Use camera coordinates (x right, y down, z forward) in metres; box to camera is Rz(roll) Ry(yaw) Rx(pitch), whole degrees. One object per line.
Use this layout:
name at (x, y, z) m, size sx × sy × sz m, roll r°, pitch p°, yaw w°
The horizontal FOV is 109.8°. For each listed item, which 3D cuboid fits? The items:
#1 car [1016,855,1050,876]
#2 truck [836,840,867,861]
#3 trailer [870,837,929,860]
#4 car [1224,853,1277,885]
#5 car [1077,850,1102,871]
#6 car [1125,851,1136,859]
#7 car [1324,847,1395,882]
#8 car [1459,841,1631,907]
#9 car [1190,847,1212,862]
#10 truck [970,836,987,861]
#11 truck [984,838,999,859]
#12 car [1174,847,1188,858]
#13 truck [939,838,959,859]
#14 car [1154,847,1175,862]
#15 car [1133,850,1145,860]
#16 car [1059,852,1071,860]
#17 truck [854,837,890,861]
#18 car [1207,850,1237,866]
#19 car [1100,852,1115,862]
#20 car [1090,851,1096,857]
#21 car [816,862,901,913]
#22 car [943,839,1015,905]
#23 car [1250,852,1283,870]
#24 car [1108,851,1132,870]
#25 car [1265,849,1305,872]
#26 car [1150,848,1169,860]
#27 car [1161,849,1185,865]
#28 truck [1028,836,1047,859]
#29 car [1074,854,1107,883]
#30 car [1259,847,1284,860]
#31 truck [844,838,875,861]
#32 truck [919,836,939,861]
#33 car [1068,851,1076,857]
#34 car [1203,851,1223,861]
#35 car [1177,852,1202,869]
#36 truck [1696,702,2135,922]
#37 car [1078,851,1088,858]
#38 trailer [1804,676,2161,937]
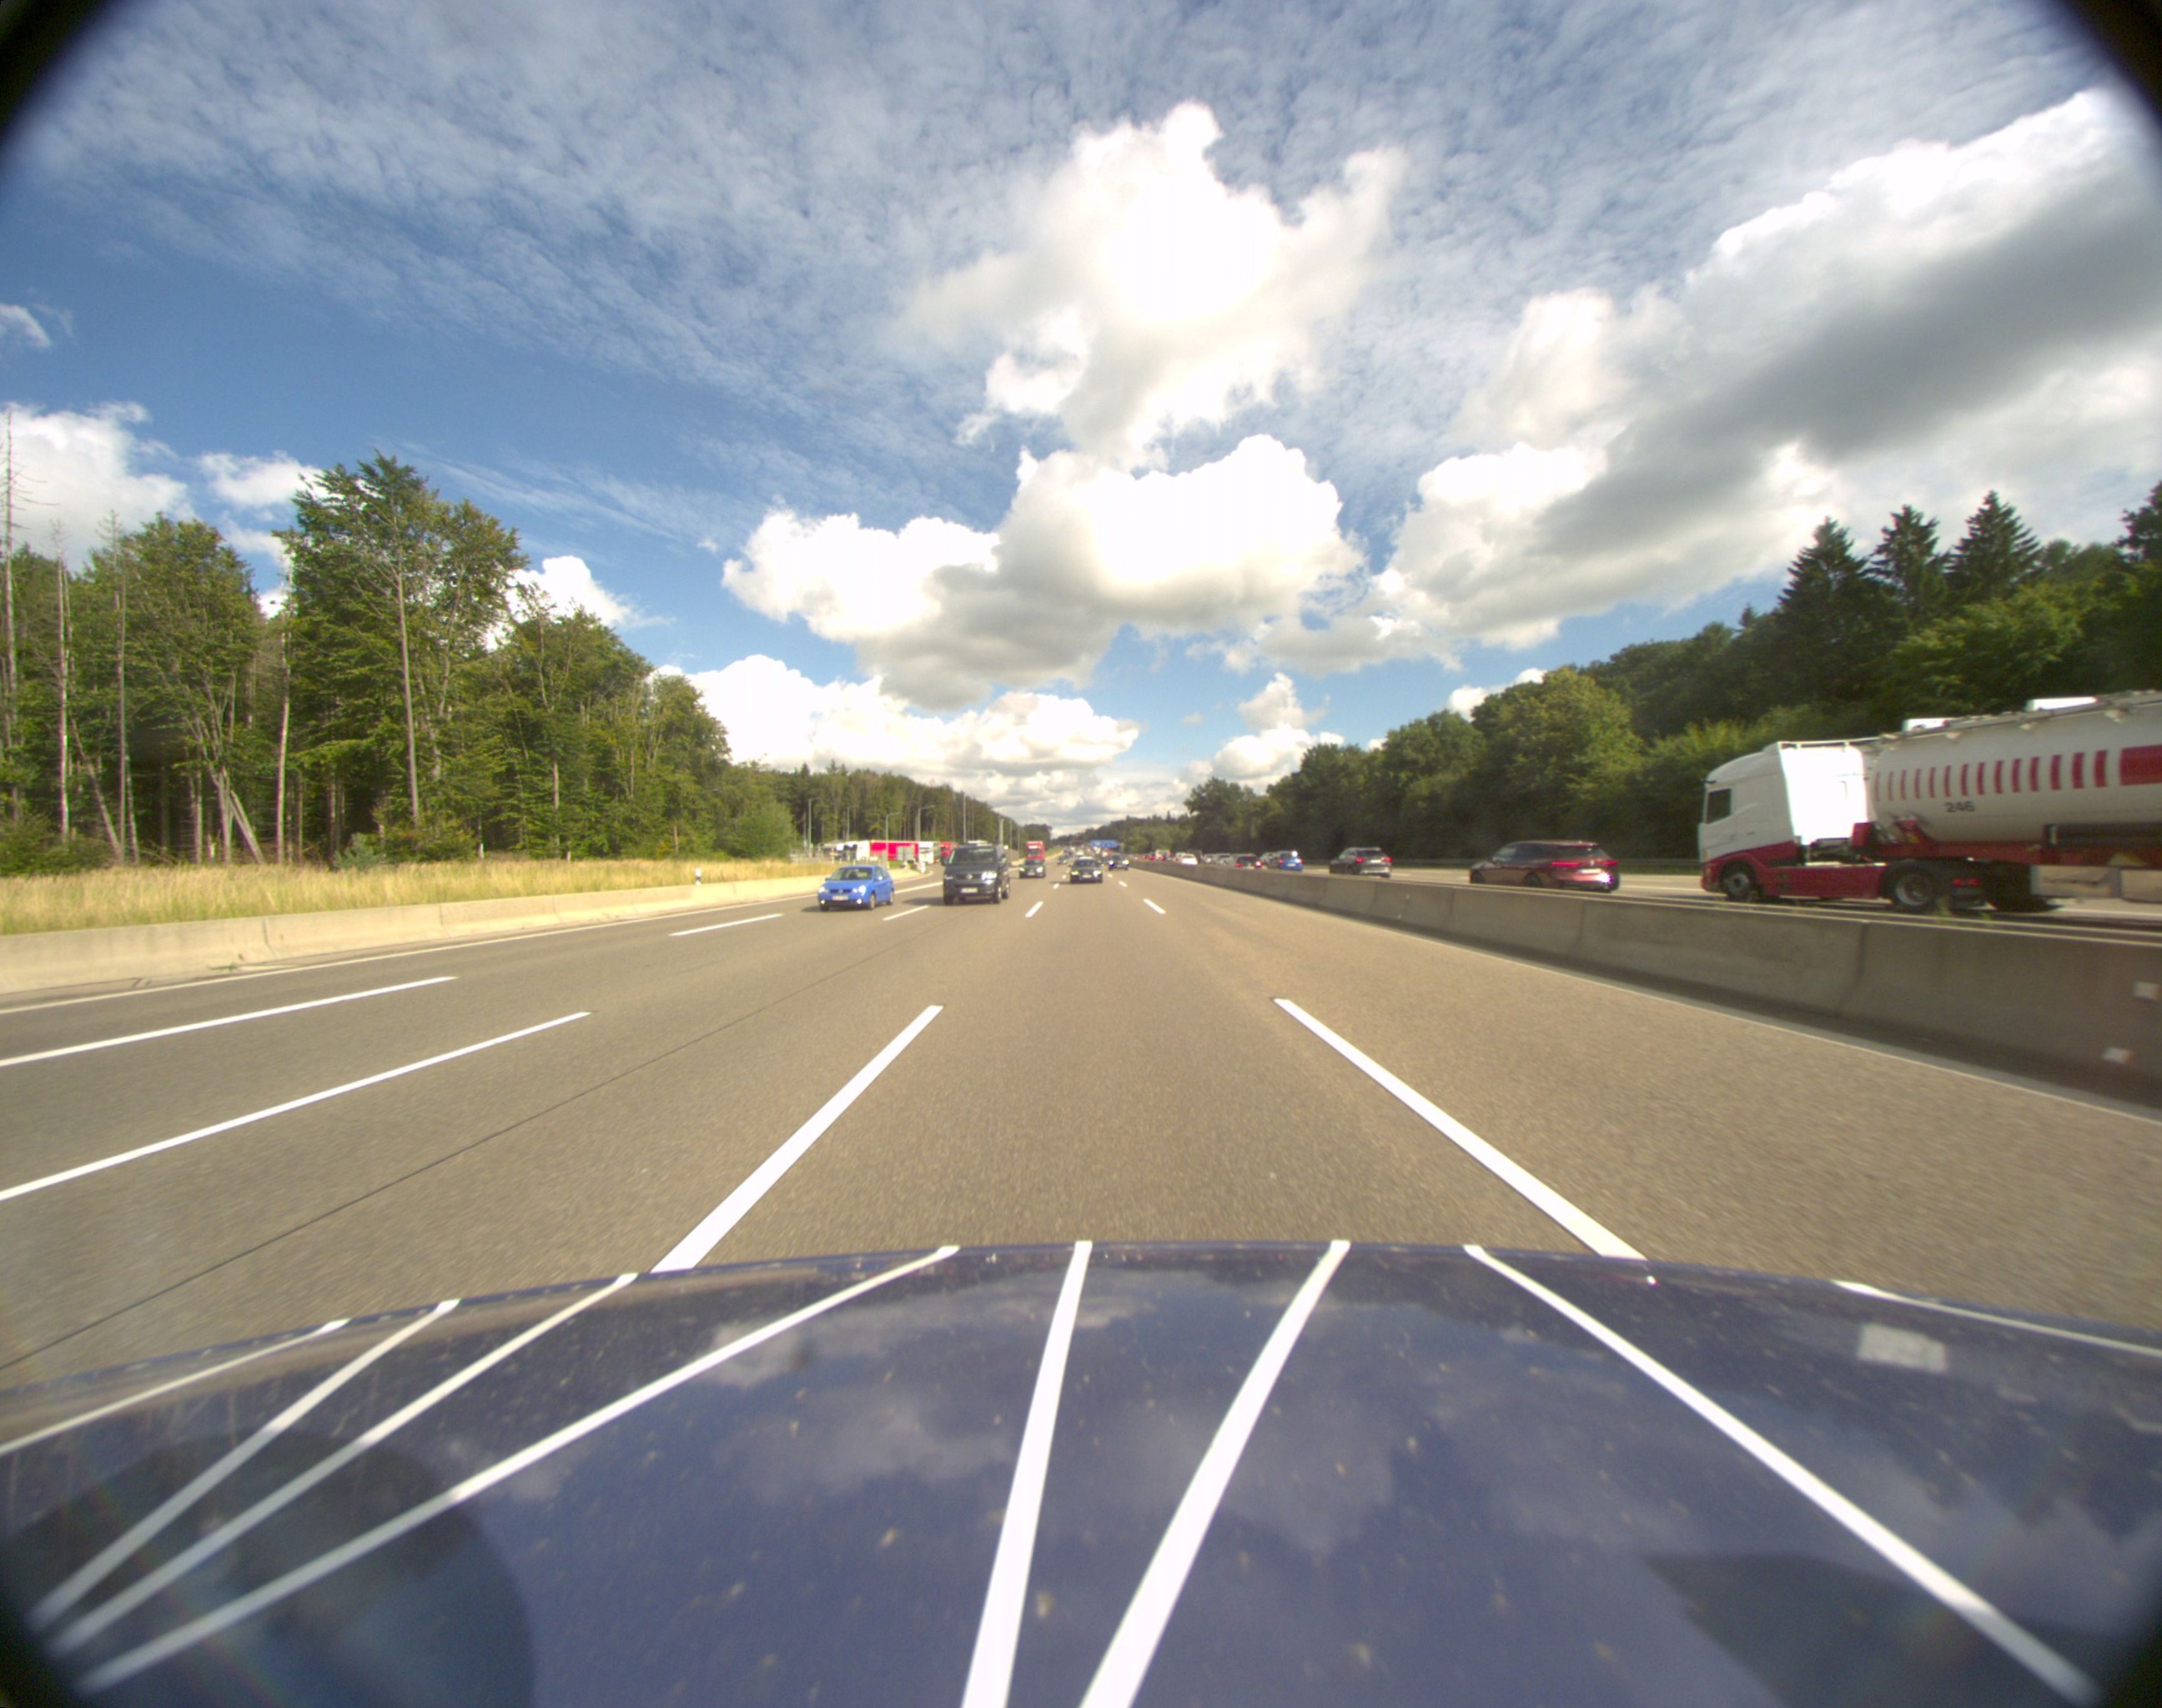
car at (-3.578, 0.851, 57.424) m, size 2.153 × 1.426 × 5.099 m, roll -1°, pitch 0°, yaw 0°
truck at (-45.957, -0.765, 152.148) m, size 5.181 × 4.093 × 2.565 m, roll -1°, pitch 1°, yaw -44°
trailer at (-36.219, -1.053, 151.744) m, size 11.406 × 4.348 × 2.838 m, roll -2°, pitch 1°, yaw -43°
car at (10.311, 0.870, 46.669) m, size 2.177 × 1.867 × 4.980 m, roll 0°, pitch 0°, yaw 0°
car at (0.783, 0.578, 70.542) m, size 2.153 × 1.800 × 5.099 m, roll -2°, pitch 1°, yaw 1°
car at (10.145, 0.141, 156.378) m, size 1.998 × 1.543 × 4.000 m, roll -1°, pitch 0°, yaw 0°
car at (14.159, 0.490, 38.897) m, size 1.864 × 1.610 × 4.748 m, roll -1°, pitch 0°, yaw 0°
car at (13.291, 0.501, 22.233) m, size 1.859 × 1.660 × 5.210 m, roll -1°, pitch 0°, yaw 0°
car at (15.318, 0.067, 97.535) m, size 1.998 × 1.794 × 5.125 m, roll -1°, pitch 0°, yaw 0°
truck at (-20.854, -1.120, 155.127) m, size 2.661 × 4.896 × 6.984 m, roll 0°, pitch 0°, yaw -1°
truck at (-20.811, -1.289, 176.823) m, size 2.661 × 4.896 × 7.261 m, roll 0°, pitch 0°, yaw -1°
car at (18.297, -0.284, 139.299) m, size 1.955 × 1.841 × 5.341 m, roll -1°, pitch 0°, yaw 0°
truck at (-27.915, -1.147, 160.515) m, size 2.879 × 4.480 × 7.036 m, roll -1°, pitch 0°, yaw 0°
car at (10.893, 0.060, 99.758) m, size 2.164 × 2.002 × 5.822 m, roll 0°, pitch 0°, yaw 0°
car at (10.043, 0.188, 131.661) m, size 1.746 × 1.608 × 4.549 m, roll -1°, pitch 0°, yaw 0°
car at (-3.110, 0.412, 145.601) m, size 2.153 × 1.540 × 4.676 m, roll -1°, pitch 0°, yaw 0°
truck at (-40.564, -0.997, 147.597) m, size 6.109 × 4.481 × 2.873 m, roll -2°, pitch 1°, yaw -44°
car at (13.925, 0.332, 75.070) m, size 1.998 × 1.476 × 5.131 m, roll -1°, pitch 0°, yaw 0°
car at (4.221, 0.422, 122.807) m, size 2.153 × 1.540 × 4.676 m, roll -1°, pitch 0°, yaw 0°
car at (3.711, -0.077, 235.245) m, size 1.892 × 1.783 × 4.000 m, roll 0°, pitch 0°, yaw 0°
car at (-7.245, 1.041, 25.151) m, size 1.654 × 1.433 × 3.999 m, roll -2°, pitch 0°, yaw -1°
car at (-3.530, 0.571, 27.176) m, size 1.854 × 2.097 × 4.932 m, roll -2°, pitch 0°, yaw 0°
car at (16.432, 0.604, 67.516) m, size 1.859 × 1.551 × 4.284 m, roll -1°, pitch 0°, yaw 0°
car at (3.885, 0.628, 77.406) m, size 2.153 × 1.800 × 5.098 m, roll -2°, pitch 1°, yaw 0°
car at (14.138, 0.425, 52.860) m, size 1.633 × 1.503 × 3.999 m, roll -1°, pitch 0°, yaw -1°
car at (10.864, 0.036, 105.476) m, size 2.177 × 1.608 × 4.549 m, roll -1°, pitch 0°, yaw 0°
car at (10.590, 0.303, 87.593) m, size 2.177 × 1.790 × 4.876 m, roll -1°, pitch 0°, yaw 0°
truck at (-7.334, -1.044, 128.369) m, size 3.018 × 3.662 × 7.559 m, roll -1°, pitch 0°, yaw -2°
car at (0.544, 0.799, 43.910) m, size 1.733 × 1.500 × 4.728 m, roll -2°, pitch 0°, yaw 1°
car at (25.903, -0.070, 103.367) m, size 2.177 × 1.627 × 4.876 m, roll -1°, pitch 0°, yaw 0°
truck at (-43.706, -0.957, 149.895) m, size 5.132 × 4.482 × 2.889 m, roll -1°, pitch 1°, yaw -44°
truck at (-27.192, -0.984, 136.237) m, size 2.880 × 4.480 × 7.173 m, roll 0°, pitch 0°, yaw -6°
car at (-2.612, 0.039, 216.036) m, size 2.153 × 1.540 × 4.676 m, roll -1°, pitch 0°, yaw 0°
car at (18.167, 0.221, 104.809) m, size 1.869 × 1.294 × 4.549 m, roll -1°, pitch 0°, yaw 0°
car at (10.783, 0.661, 75.923) m, size 1.917 × 1.631 × 4.242 m, roll 0°, pitch 0°, yaw 0°
truck at (17.767, -0.769, 17.027) m, size 2.794 × 3.922 × 6.445 m, roll -1°, pitch 0°, yaw 1°
car at (0.355, 0.057, 167.647) m, size 2.153 × 1.540 × 4.676 m, roll -1°, pitch 0°, yaw 0°
trailer at (17.605, -0.741, 10.977) m, size 2.794 × 3.922 × 12.253 m, roll -1°, pitch 0°, yaw 1°
